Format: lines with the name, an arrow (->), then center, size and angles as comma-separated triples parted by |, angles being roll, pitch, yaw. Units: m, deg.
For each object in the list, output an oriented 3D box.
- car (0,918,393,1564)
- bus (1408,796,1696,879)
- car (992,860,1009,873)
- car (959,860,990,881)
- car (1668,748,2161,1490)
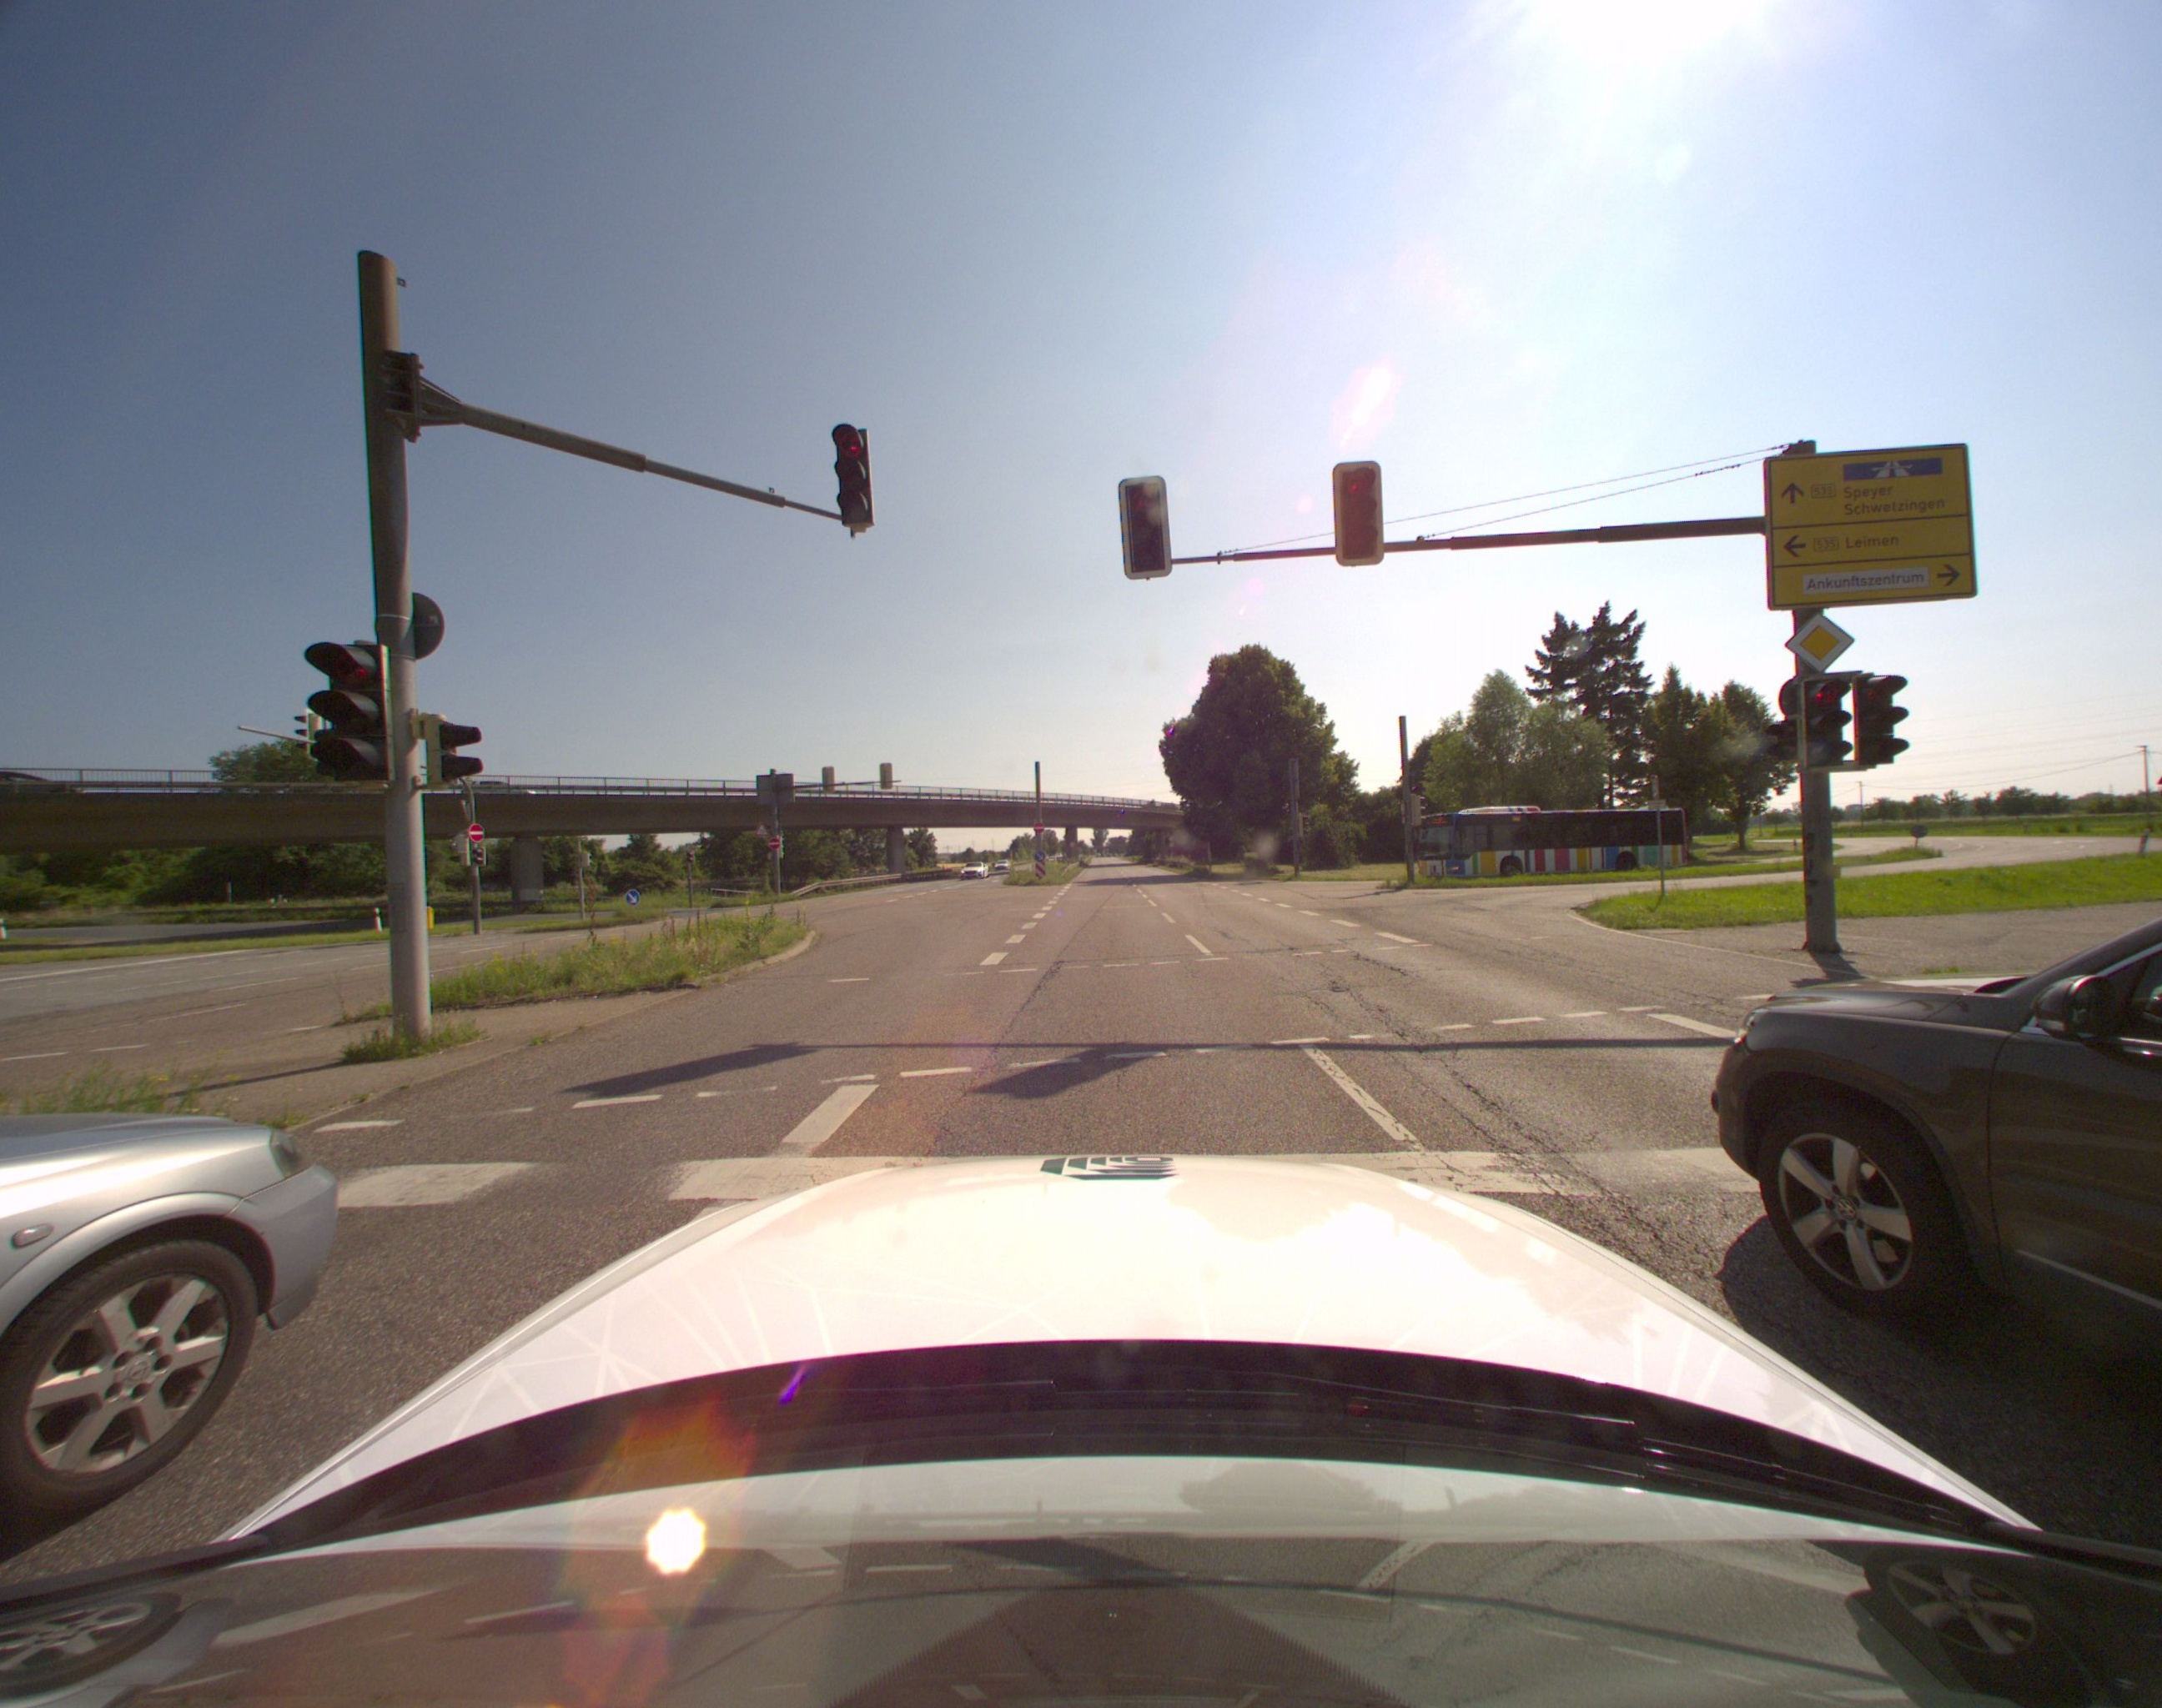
car -> -3.262, 0.923, 0.717 | 1.667, 1.335, 4.100 | -3, 0, 2
bus -> 20.225, -0.712, 34.988 | 11.954, 2.877, 2.928 | -3, 0, -14
car -> -10.899, 1.630, 110.407 | 1.784, 1.628, 4.000 | -3, 0, 1
car -> -8.765, 1.337, 67.285 | 1.850, 1.448, 4.241 | -5, 0, 1
car -> 3.270, 0.581, 1.287 | 1.749, 1.655, 4.147 | -1, 0, 1
